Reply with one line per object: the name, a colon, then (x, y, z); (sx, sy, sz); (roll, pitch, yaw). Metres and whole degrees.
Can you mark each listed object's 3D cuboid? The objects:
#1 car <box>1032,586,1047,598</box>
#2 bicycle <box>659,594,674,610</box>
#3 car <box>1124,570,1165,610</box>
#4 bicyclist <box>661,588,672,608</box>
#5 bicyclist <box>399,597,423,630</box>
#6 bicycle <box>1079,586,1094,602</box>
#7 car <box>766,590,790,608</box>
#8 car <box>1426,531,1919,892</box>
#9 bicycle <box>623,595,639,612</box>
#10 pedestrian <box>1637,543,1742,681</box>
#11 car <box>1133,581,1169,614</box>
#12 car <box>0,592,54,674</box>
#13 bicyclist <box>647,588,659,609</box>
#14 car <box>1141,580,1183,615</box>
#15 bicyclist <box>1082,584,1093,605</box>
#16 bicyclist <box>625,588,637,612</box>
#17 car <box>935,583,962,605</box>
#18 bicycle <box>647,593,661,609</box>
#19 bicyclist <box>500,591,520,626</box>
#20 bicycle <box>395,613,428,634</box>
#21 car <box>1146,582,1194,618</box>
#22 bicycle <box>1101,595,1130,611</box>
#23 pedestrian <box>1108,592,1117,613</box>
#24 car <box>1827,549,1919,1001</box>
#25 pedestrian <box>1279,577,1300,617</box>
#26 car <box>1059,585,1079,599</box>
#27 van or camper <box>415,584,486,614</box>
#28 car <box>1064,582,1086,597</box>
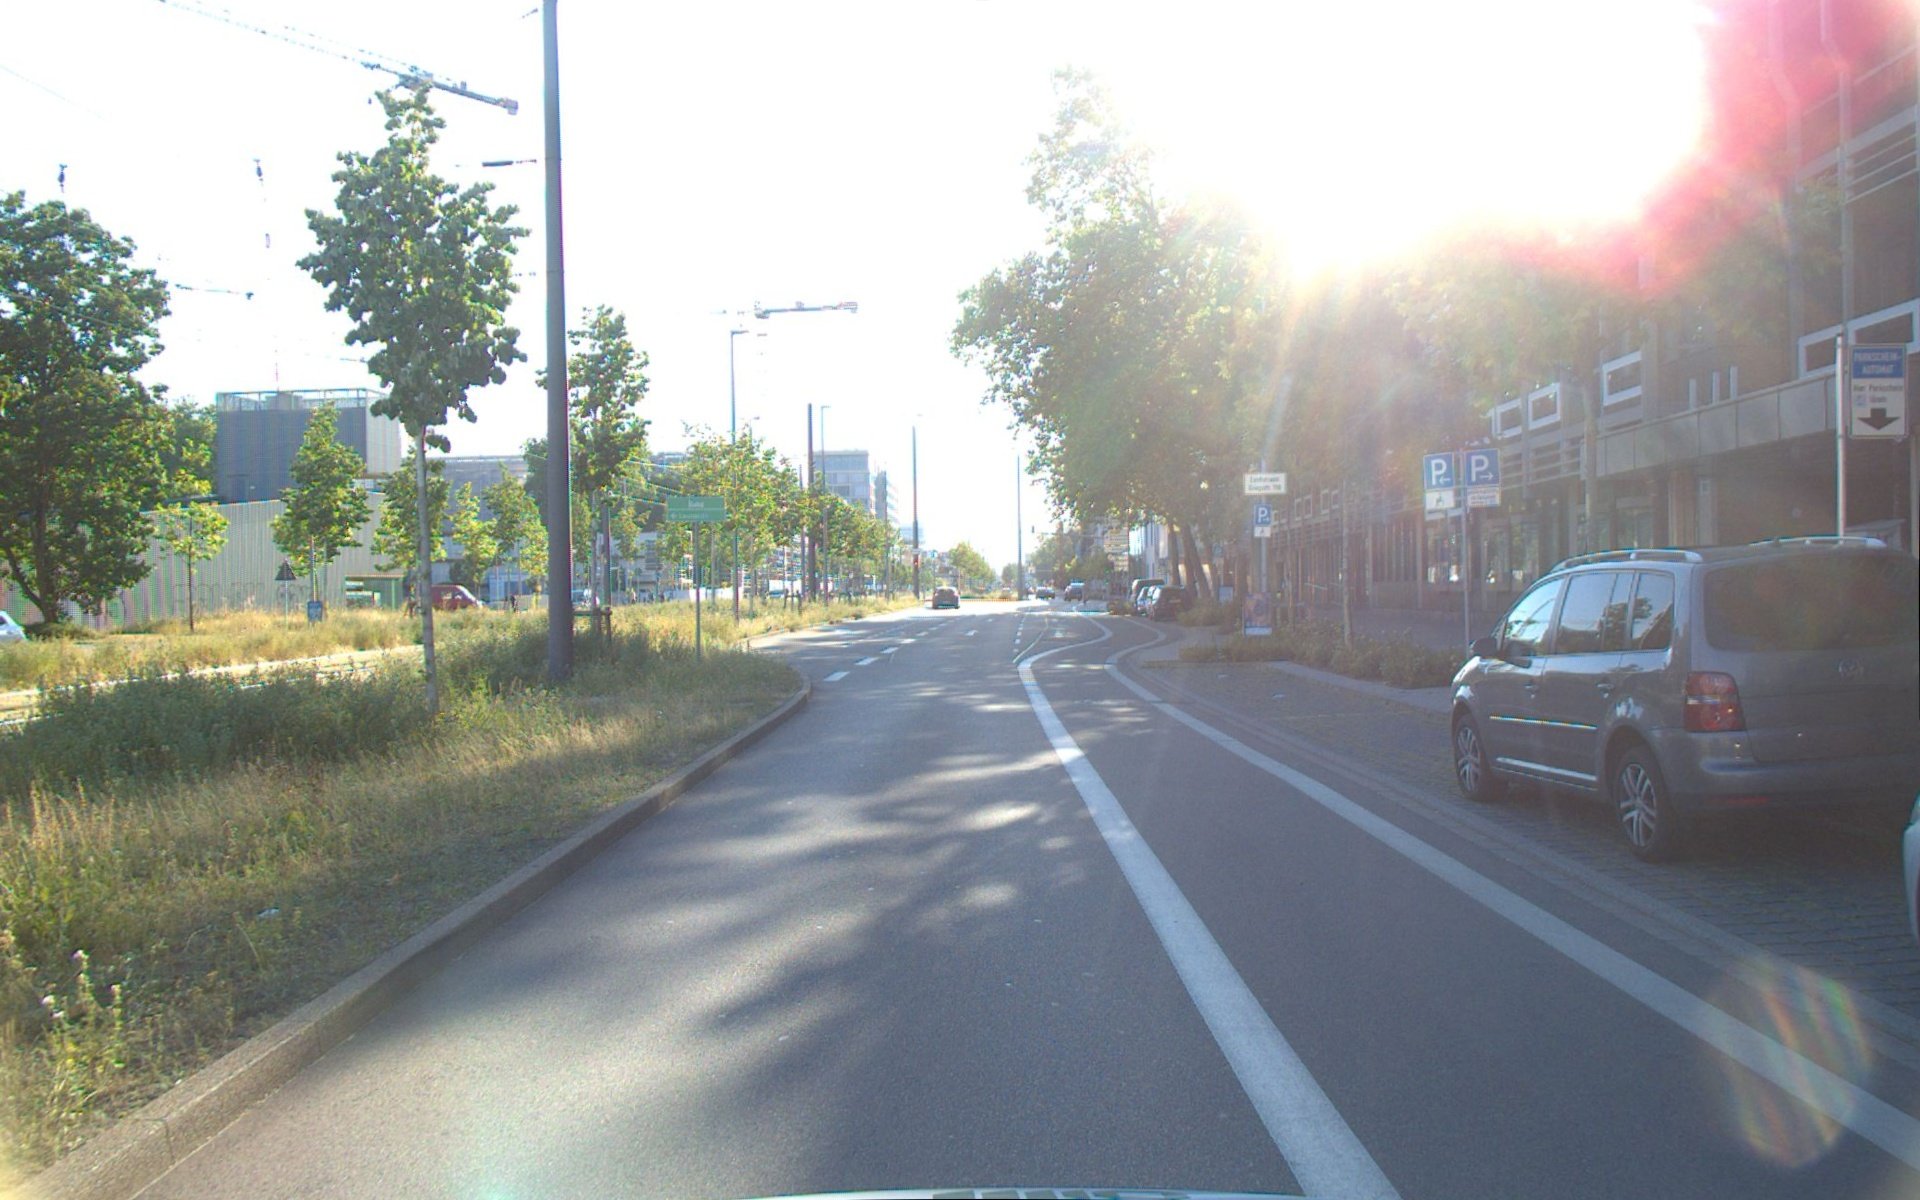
car: (10.266, -1.040, 214.291); (1.723, 1.510, 3.850); (-1, 1, 1)
bicycle: (-21.181, 0.134, 119.379); (0.571, 1.124, 1.988); (-1, 1, 3)
car: (9.981, -0.570, 89.755); (1.791, 2.005, 5.323); (-3, 0, 2)
bicyclist: (-21.184, -0.140, 119.331); (0.571, 1.467, 1.076); (-1, 0, 3)
bicyclist: (-23.055, 0.556, 69.480); (0.673, 1.370, 0.871); (-1, 0, 0)
bicycle: (9.787, -0.479, 128.081); (0.782, 1.225, 2.266); (-1, 1, 14)
car: (-19.463, -0.141, 176.623); (1.952, 1.807, 4.001); (-1, 1, 2)
car: (4.476, 0.507, 10.401); (1.693, 1.717, 4.514); (-3, 1, -1)
bicycle: (-21.299, 0.205, 107.106); (0.547, 1.078, 1.899); (-1, 0, 2)
pedestrian: (9.183, 0.143, 20.858); (0.773, 1.677, 1.137); (-2, 0, 0)
car: (9.617, -0.144, 83.416); (1.646, 1.540, 5.063); (-3, 0, 6)
car: (-20.469, 0.688, 33.457); (1.953, 1.671, 4.167); (-1, 0, 0)
bicyclist: (-21.982, -0.134, 118.492); (0.571, 1.467, 1.076); (-1, 0, 3)
car: (9.485, -0.138, 77.864); (1.646, 1.504, 3.876); (-3, 0, 3)
bicyclist: (9.850, -0.407, 128.106); (0.784, 1.630, 0.785); (-1, 0, 0)
bicyclist: (-21.305, -0.010, 107.075); (0.545, 1.533, 0.668); (-1, 0, 2)
car: (-0.764, -0.426, 112.324); (1.740, 1.453, 4.000); (0, 1, 1)
bicycle: (-21.964, 0.098, 118.707); (0.571, 1.124, 1.988); (-1, 1, 3)
bicyclist: (-22.629, 0.427, 83.236); (0.673, 1.738, 0.954); (-1, 0, 2)
bicycle: (-23.048, 0.988, 69.516); (0.673, 0.818, 2.145); (-1, 1, 0)
car: (9.050, -0.026, 71.464); (1.671, 1.443, 4.278); (-3, 0, 3)
bicycle: (9.210, 0.183, 97.898); (1.656, 0.882, 0.573); (-3, 0, 11)
pedestrian: (11.709, 0.191, 126.787); (0.621, 1.636, 0.570); (-3, 0, 3)
car: (4.344, 0.619, 4.460); (1.693, 1.650, 4.215); (-3, 1, -1)
pedestrian: (15.676, -0.155, 78.702); (0.814, 1.888, 0.847); (-1, 0, 2)
car: (11.897, -0.892, 180.432); (1.900, 1.510, 3.926); (-1, 1, 1)
van or camper: (-44.702, -0.096, 145.244); (5.541, 2.456, 2.156); (-1, 0, 4)
car: (11.126, -1.027, 159.961); (1.900, 1.453, 3.926); (-1, 1, 1)
